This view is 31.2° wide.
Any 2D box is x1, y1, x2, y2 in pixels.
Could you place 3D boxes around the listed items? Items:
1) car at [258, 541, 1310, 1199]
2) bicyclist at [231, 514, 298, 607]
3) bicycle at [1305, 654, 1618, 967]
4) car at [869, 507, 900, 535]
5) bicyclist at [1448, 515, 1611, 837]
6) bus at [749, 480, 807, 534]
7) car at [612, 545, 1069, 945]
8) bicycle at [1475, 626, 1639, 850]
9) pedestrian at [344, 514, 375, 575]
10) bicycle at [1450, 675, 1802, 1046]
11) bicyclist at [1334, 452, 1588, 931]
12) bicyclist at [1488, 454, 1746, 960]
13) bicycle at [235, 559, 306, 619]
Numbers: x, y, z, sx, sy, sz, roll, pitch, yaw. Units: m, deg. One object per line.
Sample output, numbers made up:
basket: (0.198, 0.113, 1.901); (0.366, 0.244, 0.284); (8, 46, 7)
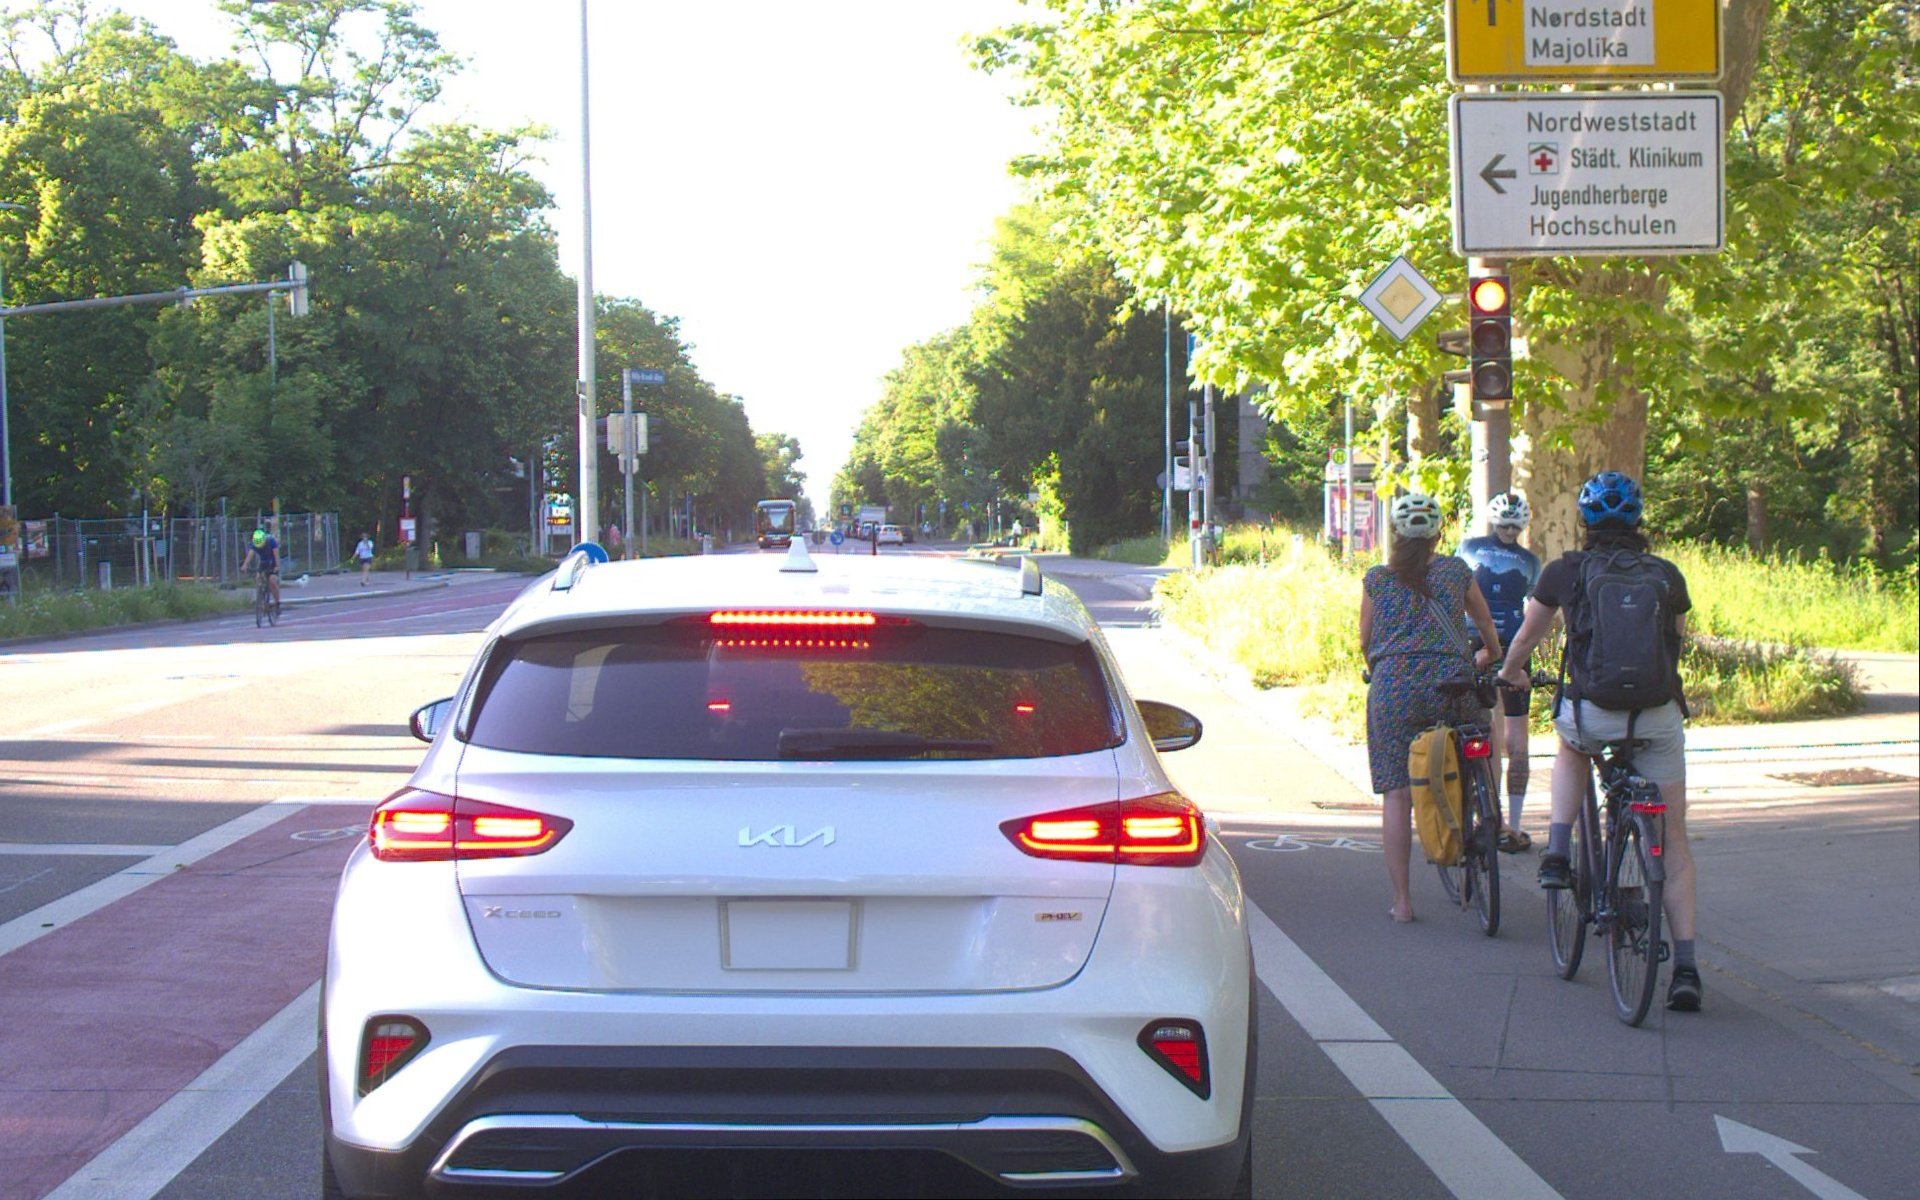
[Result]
car: (-0.367, 0.617, 7.939); (1.821, 1.475, 3.937); (0, 1, -2)
bicyclist: (-12.261, -0.702, 60.652); (0.875, 1.603, 1.188); (-1, 1, 1)
bicycle: (1.931, 0.777, 13.631); (0.758, 1.009, 2.570); (1, 1, -2)
car: (-5.483, -5.736, 250.186); (1.993, 2.007, 4.001); (-2, 1, -4)
bicyclist: (2.711, 0.349, 16.419); (0.554, 1.473, 0.717); (-4, 1, -2)
bus: (-12.908, -6.546, 242.423); (3.741, 3.660, 13.243); (-1, 1, -4)
car: (-0.528, 0.530, 15.040); (1.728, 1.478, 3.517); (-1, 1, -2)
bicycle: (2.818, 0.630, 16.325); (0.401, 0.953, 1.551); (-4, 1, -2)
pedestrian: (-17.451, -1.616, 99.900); (0.785, 1.779, 0.751); (0, 1, 0)
bicycle: (2.133, 0.799, 11.277); (0.668, 1.006, 2.081); (1, 1, -2)
bicyclist: (1.945, 0.331, 13.497); (0.753, 1.789, 1.165); (1, 1, -2)
bicyclist: (2.138, 0.332, 11.260); (0.665, 1.596, 0.721); (1, 1, -2)
bicycle: (-12.158, -0.205, 60.688); (0.663, 0.985, 2.504); (-1, 1, 2)
